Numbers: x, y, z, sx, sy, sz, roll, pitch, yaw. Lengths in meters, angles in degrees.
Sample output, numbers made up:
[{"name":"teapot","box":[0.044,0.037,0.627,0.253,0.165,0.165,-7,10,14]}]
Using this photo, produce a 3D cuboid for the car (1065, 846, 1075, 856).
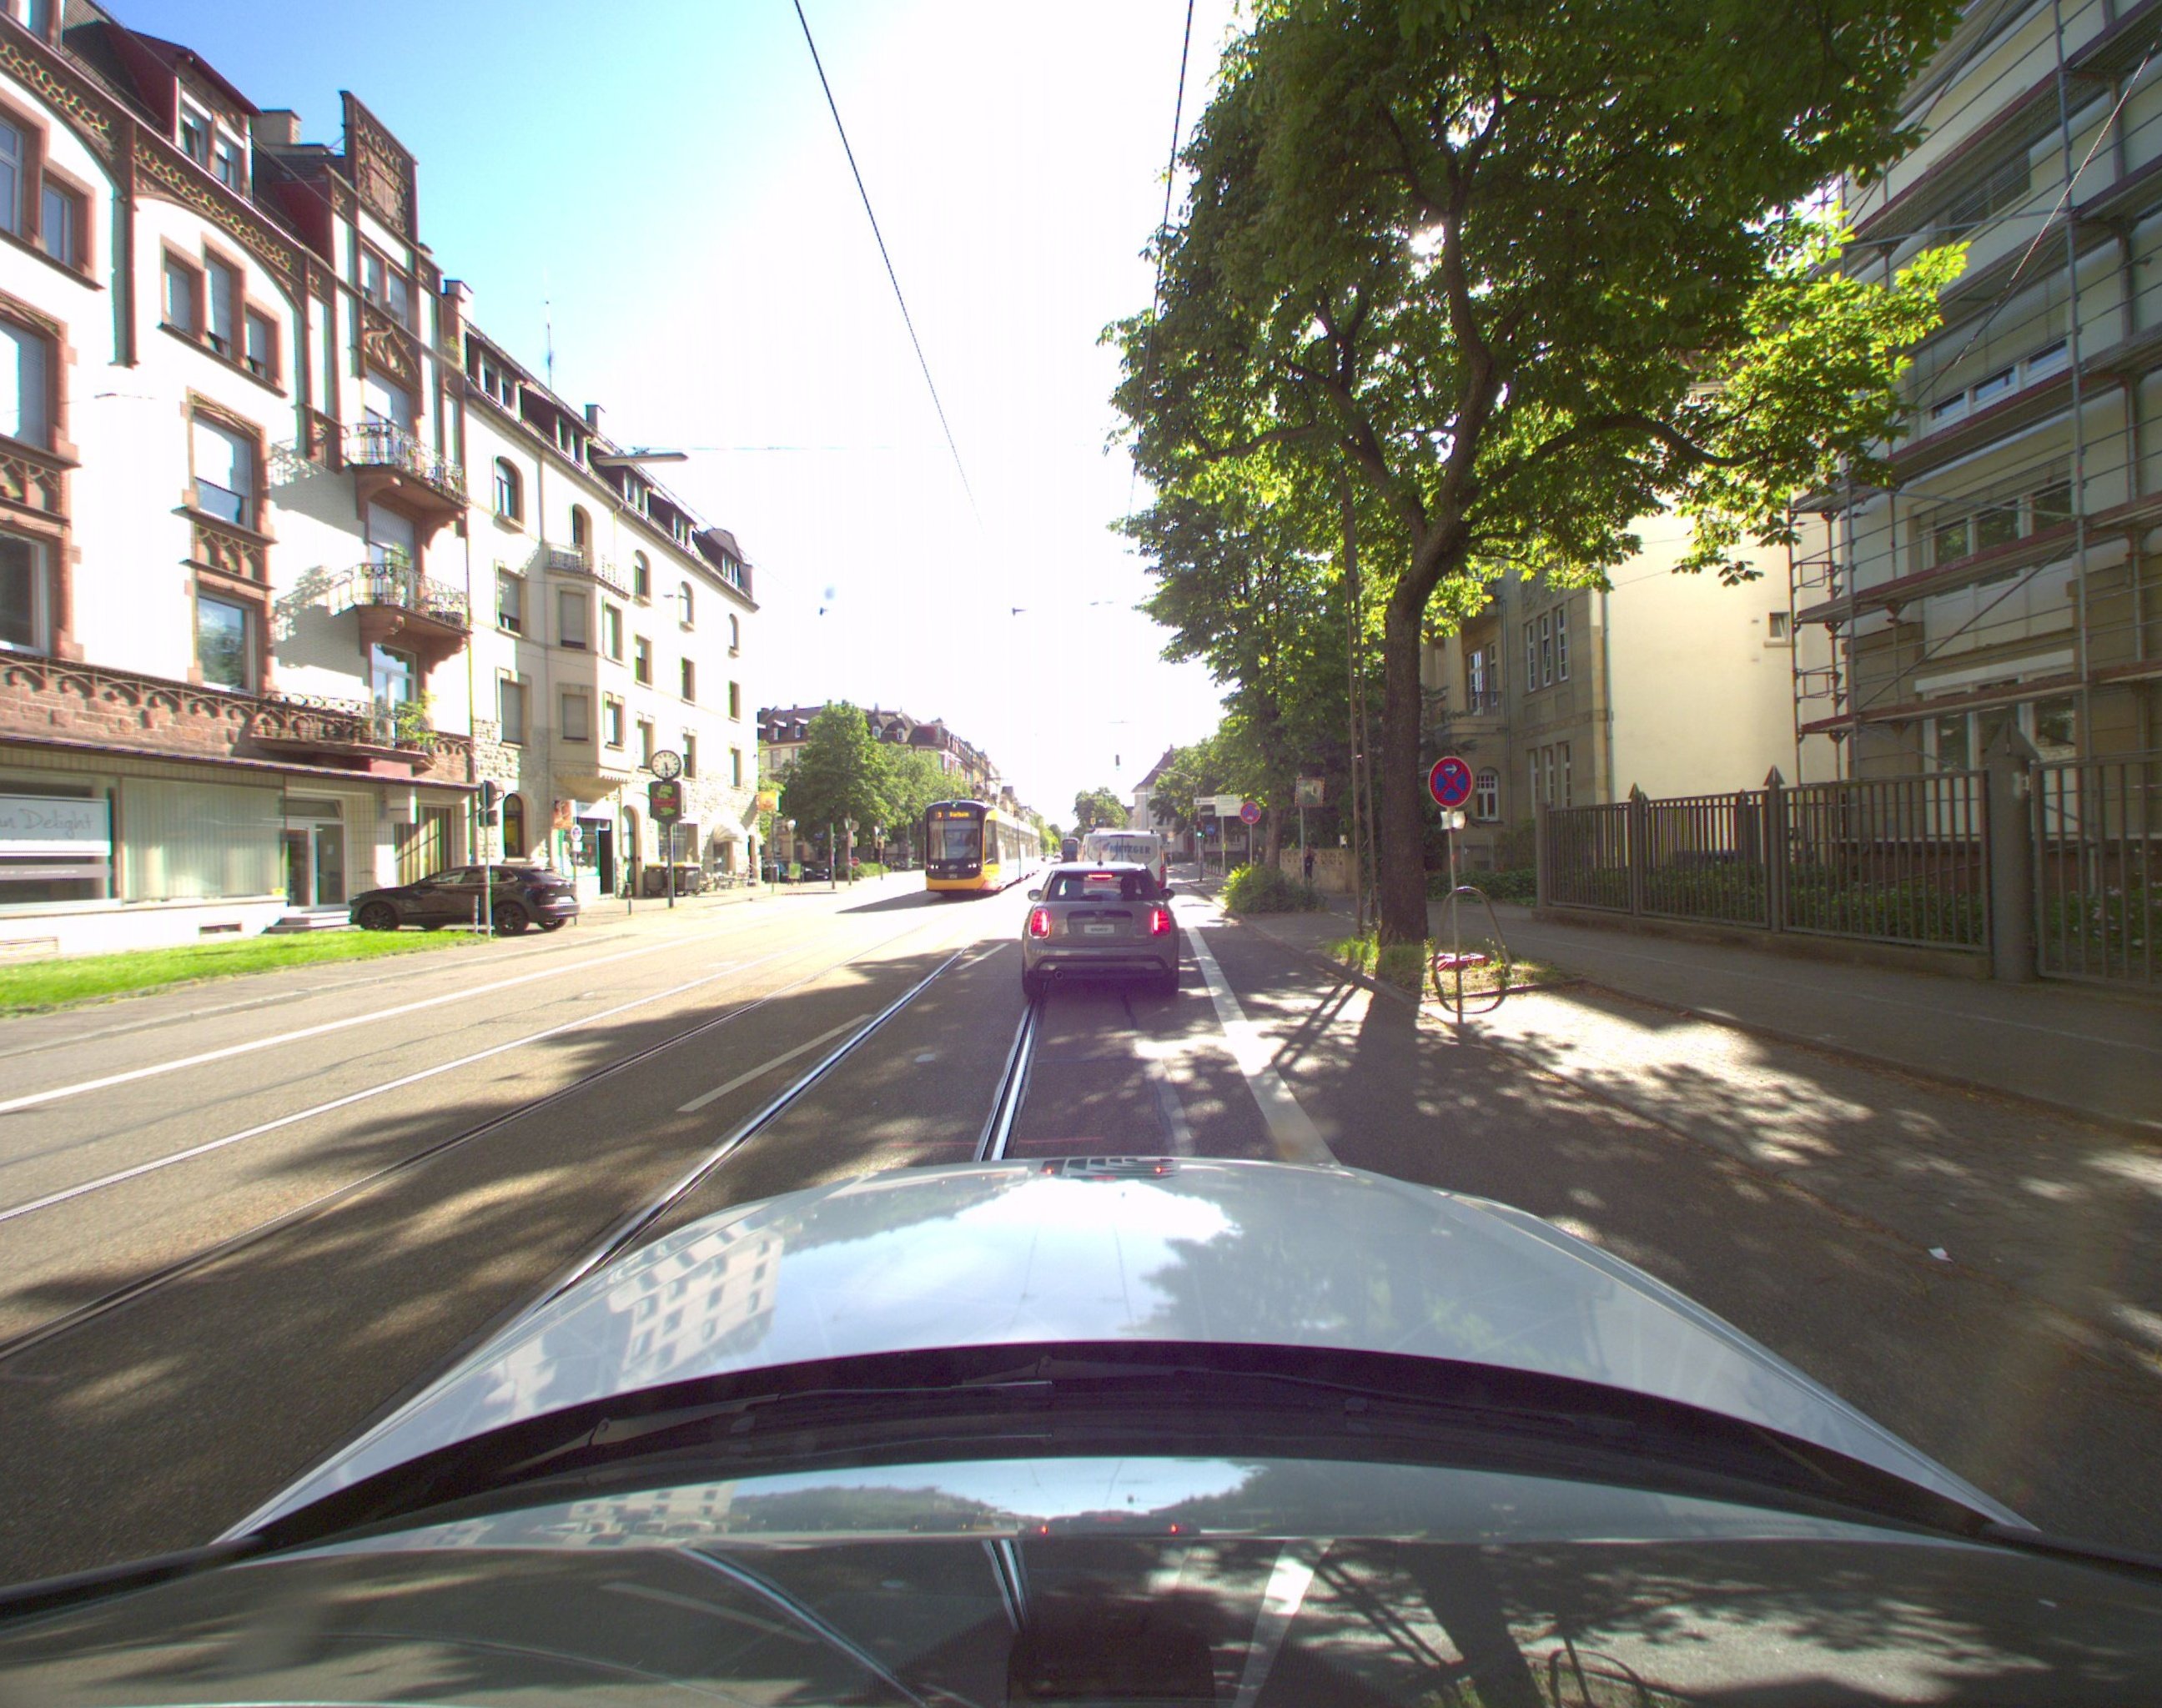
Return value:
[{"name":"car","box":[-1.979,-0.518,144.861,1.859,1.563,3.997,0,-1,-2]}]

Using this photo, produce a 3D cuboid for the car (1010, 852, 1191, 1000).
[{"name":"car","box":[0.260,0.743,10.219,1.808,1.488,4.001,0,-1,2]}]

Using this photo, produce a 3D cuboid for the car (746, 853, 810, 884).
[{"name":"car","box":[-20.553,0.990,55.190,3.949,2.014,2.012,-1,-1,30]}]

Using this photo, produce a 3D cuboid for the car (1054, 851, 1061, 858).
[{"name":"car","box":[-5.743,0.137,199.079,1.771,1.618,3.997,0,-1,-2]}]

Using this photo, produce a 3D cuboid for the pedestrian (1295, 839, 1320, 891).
[{"name":"pedestrian","box":[7.570,0.369,27.220,0.590,1.671,0.647,-3,-1,1]}]

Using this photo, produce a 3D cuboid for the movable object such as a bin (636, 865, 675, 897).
[{"name":"movable object such as a bin","box":[-16.953,1.067,32.461,0.829,1.223,1.245,0,-1,4]}]

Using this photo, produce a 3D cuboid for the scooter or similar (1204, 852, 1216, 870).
[{"name":"scooter or similar","box":[9.315,0.496,58.758,0.673,1.310,1.329,0,-1,1]}]

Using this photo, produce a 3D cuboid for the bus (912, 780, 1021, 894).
[{"name":"bus","box":[-4.229,-0.518,32.923,2.851,3.777,11.494,0,0,-1]}]

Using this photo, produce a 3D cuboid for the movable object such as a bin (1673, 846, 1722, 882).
[{"name":"movable object such as a bin","box":[16.674,0.276,22.033,0.831,0.955,0.648,0,-1,0]}]

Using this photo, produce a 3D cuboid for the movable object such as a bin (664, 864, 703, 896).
[{"name":"movable object such as a bin","box":[-16.018,1.047,32.805,0.941,1.273,1.145,0,-1,5]}]

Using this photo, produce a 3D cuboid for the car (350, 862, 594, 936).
[{"name":"car","box":[-13.591,0.990,18.392,3.981,1.503,1.768,1,-1,-6]}]

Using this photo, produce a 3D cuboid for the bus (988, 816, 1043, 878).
[{"name":"bus","box":[-4.260,-0.398,55.789,2.841,3.777,12.193,0,0,0]}]

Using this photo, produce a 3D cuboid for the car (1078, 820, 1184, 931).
[{"name":"car","box":[1.078,0.447,18.843,2.110,2.208,4.946,0,-1,2]}]

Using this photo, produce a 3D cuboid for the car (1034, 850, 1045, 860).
[{"name":"car","box":[-6.947,0.121,135.947,1.771,1.618,3.997,0,-1,-2]}]

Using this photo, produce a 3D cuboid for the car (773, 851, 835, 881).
[{"name":"car","box":[-19.495,0.826,57.244,3.949,2.014,2.012,-1,-1,30]}]

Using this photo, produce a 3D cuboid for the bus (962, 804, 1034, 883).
[{"name":"bus","box":[-4.258,-0.458,44.277,2.851,3.777,11.179,0,-1,-1]}]

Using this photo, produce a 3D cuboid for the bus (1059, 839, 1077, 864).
[{"name":"bus","box":[-1.897,-0.307,118.999,2.379,3.496,7.377,0,-1,-2]}]

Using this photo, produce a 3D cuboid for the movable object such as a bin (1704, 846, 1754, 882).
[{"name":"movable object such as a bin","box":[17.540,0.270,22.045,0.831,0.955,0.648,0,-1,0]}]

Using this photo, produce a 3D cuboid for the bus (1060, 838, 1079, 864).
[{"name":"bus","box":[-1.588,-0.388,111.592,2.379,3.496,7.377,0,-1,-2]}]
